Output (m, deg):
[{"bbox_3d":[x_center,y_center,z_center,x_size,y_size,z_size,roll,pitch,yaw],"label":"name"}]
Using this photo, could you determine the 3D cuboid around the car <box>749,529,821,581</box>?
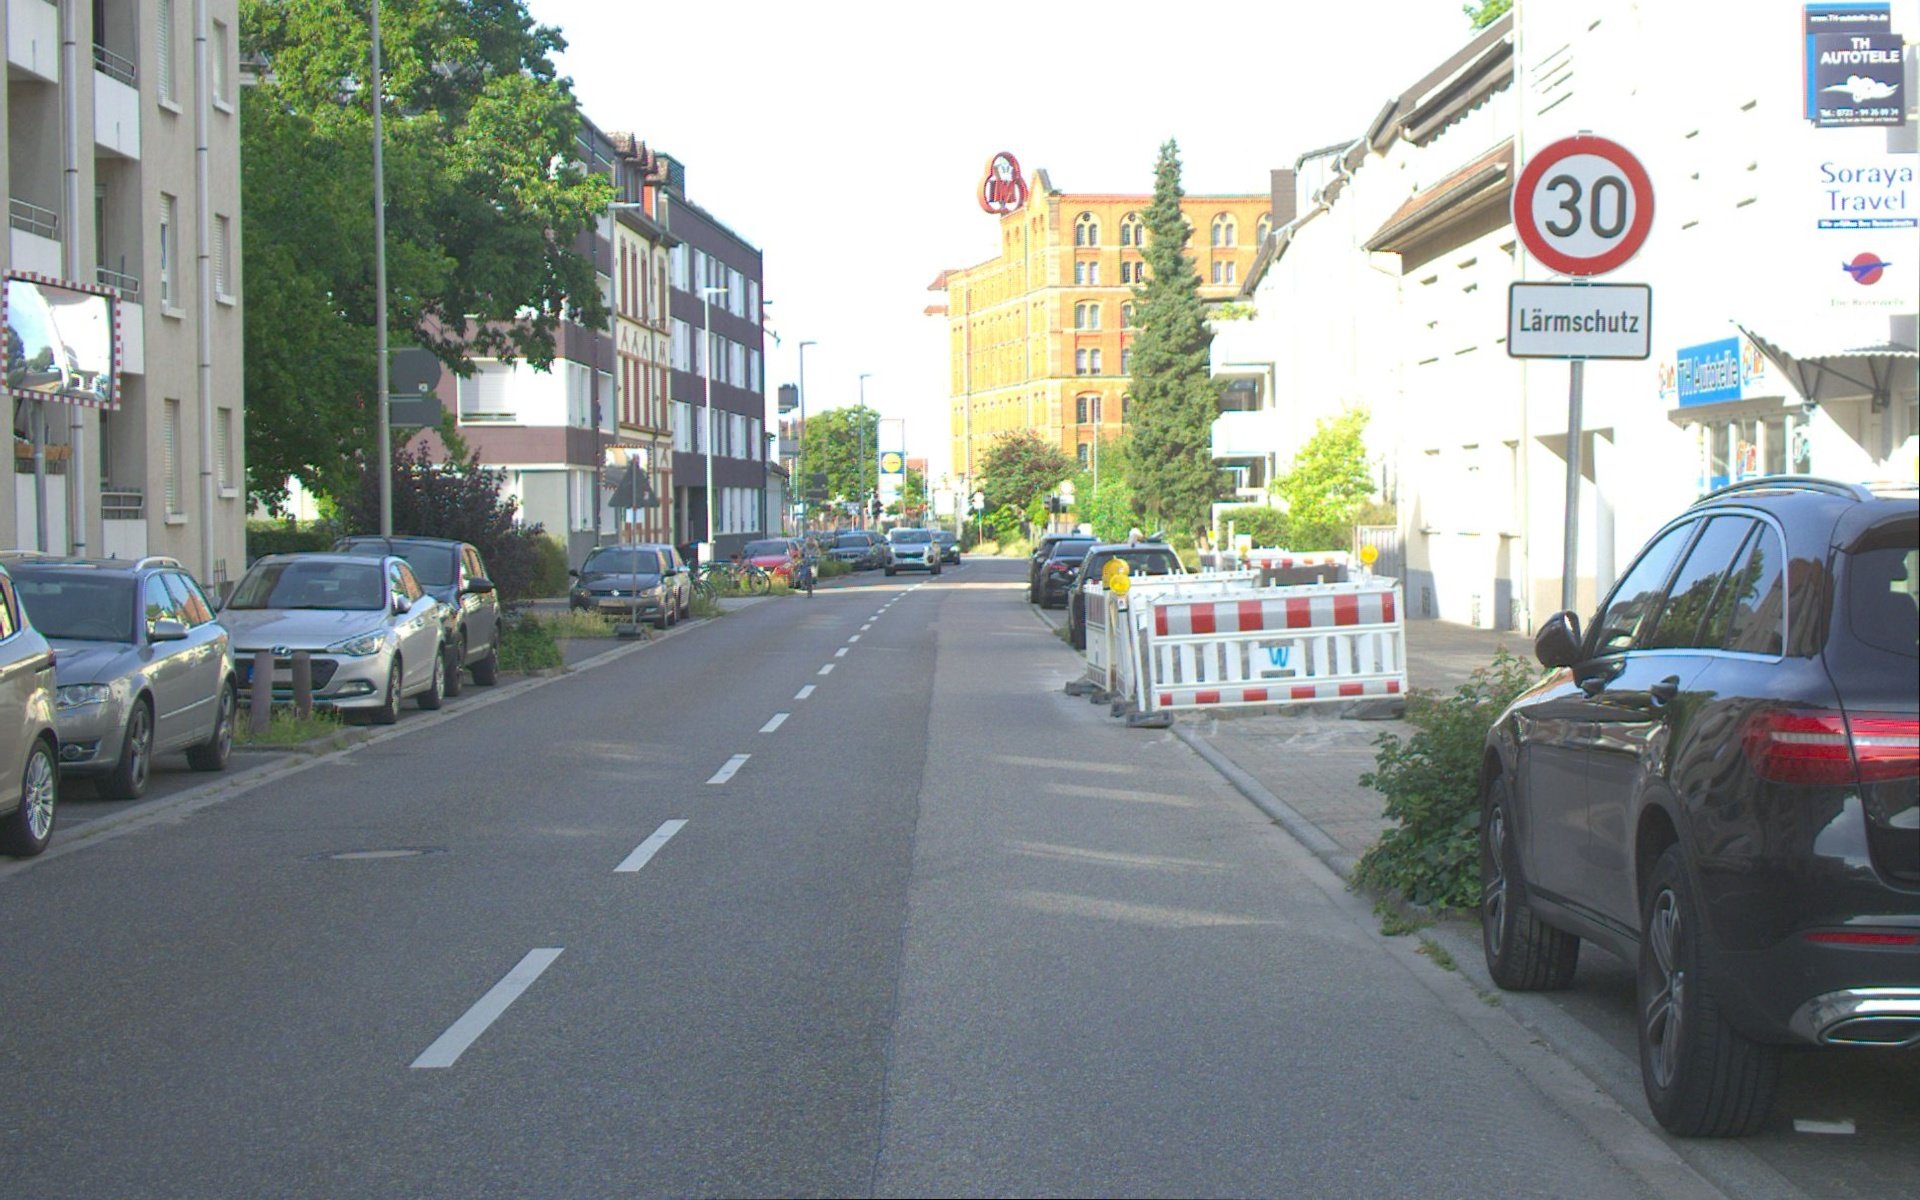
[{"bbox_3d":[-5.025,-1.306,98.943,1.840,1.459,3.585,0,1,1],"label":"car"}]

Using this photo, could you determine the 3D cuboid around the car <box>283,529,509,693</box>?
[{"bbox_3d":[-5.839,0.064,36.027,1.686,1.597,4.370,0,1,0],"label":"car"}]

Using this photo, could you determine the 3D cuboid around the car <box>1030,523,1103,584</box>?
[{"bbox_3d":[2.802,-1.255,91.066,1.763,1.521,4.000,-2,1,0],"label":"car"}]

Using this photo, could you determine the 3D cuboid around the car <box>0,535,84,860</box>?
[{"bbox_3d":[-5.481,0.479,15.951,1.727,1.550,3.965,0,1,2],"label":"car"}]

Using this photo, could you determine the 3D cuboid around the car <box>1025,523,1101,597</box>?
[{"bbox_3d":[2.346,-0.945,79.008,1.601,1.640,3.685,1,1,0],"label":"car"}]

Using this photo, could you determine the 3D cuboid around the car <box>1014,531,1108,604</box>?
[{"bbox_3d":[2.133,-0.719,73.584,1.859,1.467,4.000,1,1,0],"label":"car"}]

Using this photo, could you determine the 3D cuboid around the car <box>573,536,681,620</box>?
[{"bbox_3d":[-5.839,-0.411,60.540,1.573,1.415,3.804,0,1,-1],"label":"car"}]

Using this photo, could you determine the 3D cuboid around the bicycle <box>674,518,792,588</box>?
[{"bbox_3d":[-5.888,-1.228,89.306,2.918,1.771,1.202,-1,1,1],"label":"bicycle"}]

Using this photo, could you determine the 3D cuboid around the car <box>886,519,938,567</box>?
[{"bbox_3d":[-1.676,-2.027,121.823,1.763,1.610,4.000,-1,1,0],"label":"car"}]

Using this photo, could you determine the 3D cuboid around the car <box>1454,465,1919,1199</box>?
[{"bbox_3d":[2.605,0.459,9.741,1.830,1.624,4.463,-1,1,1],"label":"car"}]

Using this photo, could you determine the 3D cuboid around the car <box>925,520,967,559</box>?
[{"bbox_3d":[-0.603,-2.632,149.399,1.763,1.610,4.000,-1,1,0],"label":"car"}]

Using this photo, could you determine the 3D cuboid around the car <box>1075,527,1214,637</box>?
[{"bbox_3d":[2.620,-0.289,49.595,1.830,1.477,3.943,-1,1,1],"label":"car"}]

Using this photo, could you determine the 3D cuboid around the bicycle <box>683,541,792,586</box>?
[{"bbox_3d":[-5.876,-0.966,91.083,2.773,1.140,1.143,-1,1,1],"label":"bicycle"}]

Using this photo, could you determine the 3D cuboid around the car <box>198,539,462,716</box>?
[{"bbox_3d":[-5.561,0.195,30.774,1.686,1.449,4.141,0,1,-1],"label":"car"}]

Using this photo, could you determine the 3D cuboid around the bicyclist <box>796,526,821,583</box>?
[{"bbox_3d":[-3.870,-1.167,87.880,0.591,1.437,0.750,-1,1,1],"label":"bicyclist"}]

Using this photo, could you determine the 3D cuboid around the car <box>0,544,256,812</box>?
[{"bbox_3d":[-5.837,0.419,22.167,1.807,1.516,4.371,0,1,-2],"label":"car"}]

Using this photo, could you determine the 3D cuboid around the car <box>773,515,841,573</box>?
[{"bbox_3d":[-5.098,-1.883,114.900,1.993,1.905,3.689,-1,1,1],"label":"car"}]

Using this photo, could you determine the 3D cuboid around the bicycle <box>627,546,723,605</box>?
[{"bbox_3d":[-6.017,-0.523,72.480,2.000,1.213,0.708,-1,1,-5],"label":"bicycle"}]

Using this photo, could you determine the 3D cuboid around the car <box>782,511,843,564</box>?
[{"bbox_3d":[-5.375,-2.294,125.809,1.993,1.875,4.000,0,1,1],"label":"car"}]

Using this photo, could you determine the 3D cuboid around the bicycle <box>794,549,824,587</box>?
[{"bbox_3d":[-3.864,-0.825,87.883,0.608,0.939,1.811,-2,1,1],"label":"bicycle"}]
